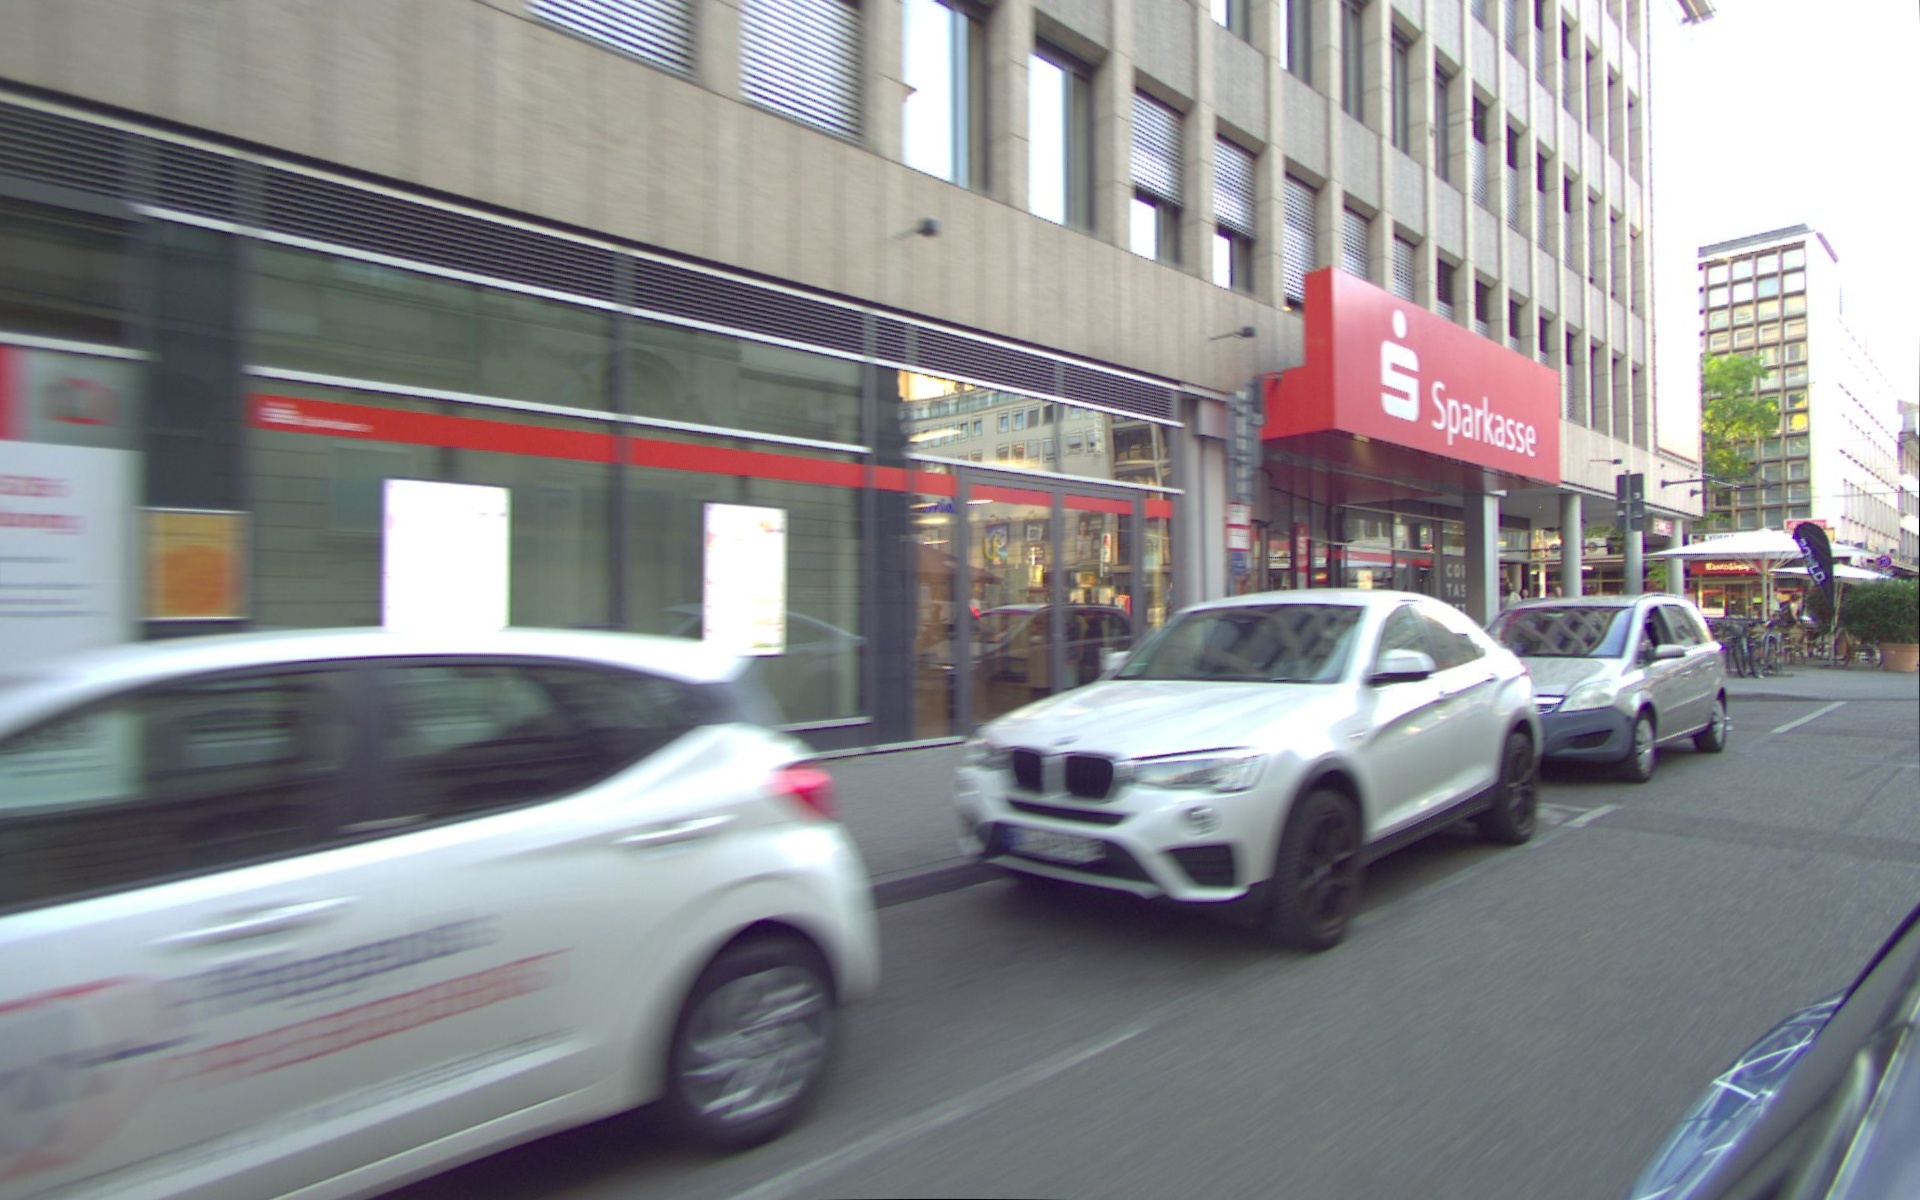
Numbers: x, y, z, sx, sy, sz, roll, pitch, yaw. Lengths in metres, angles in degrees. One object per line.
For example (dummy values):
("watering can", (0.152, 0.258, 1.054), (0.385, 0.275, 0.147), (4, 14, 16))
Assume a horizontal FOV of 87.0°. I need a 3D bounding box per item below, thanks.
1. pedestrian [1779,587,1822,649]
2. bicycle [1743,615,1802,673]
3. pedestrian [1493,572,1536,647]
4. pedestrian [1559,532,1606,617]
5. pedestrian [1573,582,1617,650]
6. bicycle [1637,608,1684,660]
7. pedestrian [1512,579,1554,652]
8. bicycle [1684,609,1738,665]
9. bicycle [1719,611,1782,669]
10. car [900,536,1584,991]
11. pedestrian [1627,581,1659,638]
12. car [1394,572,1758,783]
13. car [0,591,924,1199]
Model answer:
("pedestrian", (23.735, 0.495, 28.597), (0.789, 1.710, 0.761), (0, 0, 29))
("bicycle", (15.313, 0.815, 19.057), (1.828, 1.046, 0.330), (0, 0, -33))
("pedestrian", (13.605, 0.223, 24.819), (0.797, 1.784, 0.677), (0, -1, 42))
("pedestrian", (14.498, -0.586, 23.574), (0.676, 1.943, 0.797), (1, -1, -45))
("pedestrian", (16.900, 0.410, 26.964), (0.787, 1.784, 0.685), (0, 0, 11))
("bicycle", (14.739, 0.694, 21.273), (1.831, 1.046, 0.382), (0, 0, -41))
("pedestrian", (14.305, 0.381, 25.281), (0.797, 1.784, 0.677), (0, -1, 42))
("bicycle", (14.717, 0.711, 19.818), (1.829, 1.046, 0.383), (0, 0, -38))
("bicycle", (15.121, 0.749, 19.352), (1.828, 1.046, 0.383), (0, 0, -33))
("car", (2.024, 0.598, 6.061), (4.734, 1.687, 1.777), (-1, -1, -44))
("pedestrian", (20.999, 0.278, 31.122), (0.791, 1.710, 0.760), (0, 0, 34))
("car", (6.217, 0.626, 9.961), (4.632, 1.619, 1.742), (0, -2, -42))
("car", (-2.095, 0.752, 2.584), (3.802, 1.466, 1.659), (-1, -1, -41))
